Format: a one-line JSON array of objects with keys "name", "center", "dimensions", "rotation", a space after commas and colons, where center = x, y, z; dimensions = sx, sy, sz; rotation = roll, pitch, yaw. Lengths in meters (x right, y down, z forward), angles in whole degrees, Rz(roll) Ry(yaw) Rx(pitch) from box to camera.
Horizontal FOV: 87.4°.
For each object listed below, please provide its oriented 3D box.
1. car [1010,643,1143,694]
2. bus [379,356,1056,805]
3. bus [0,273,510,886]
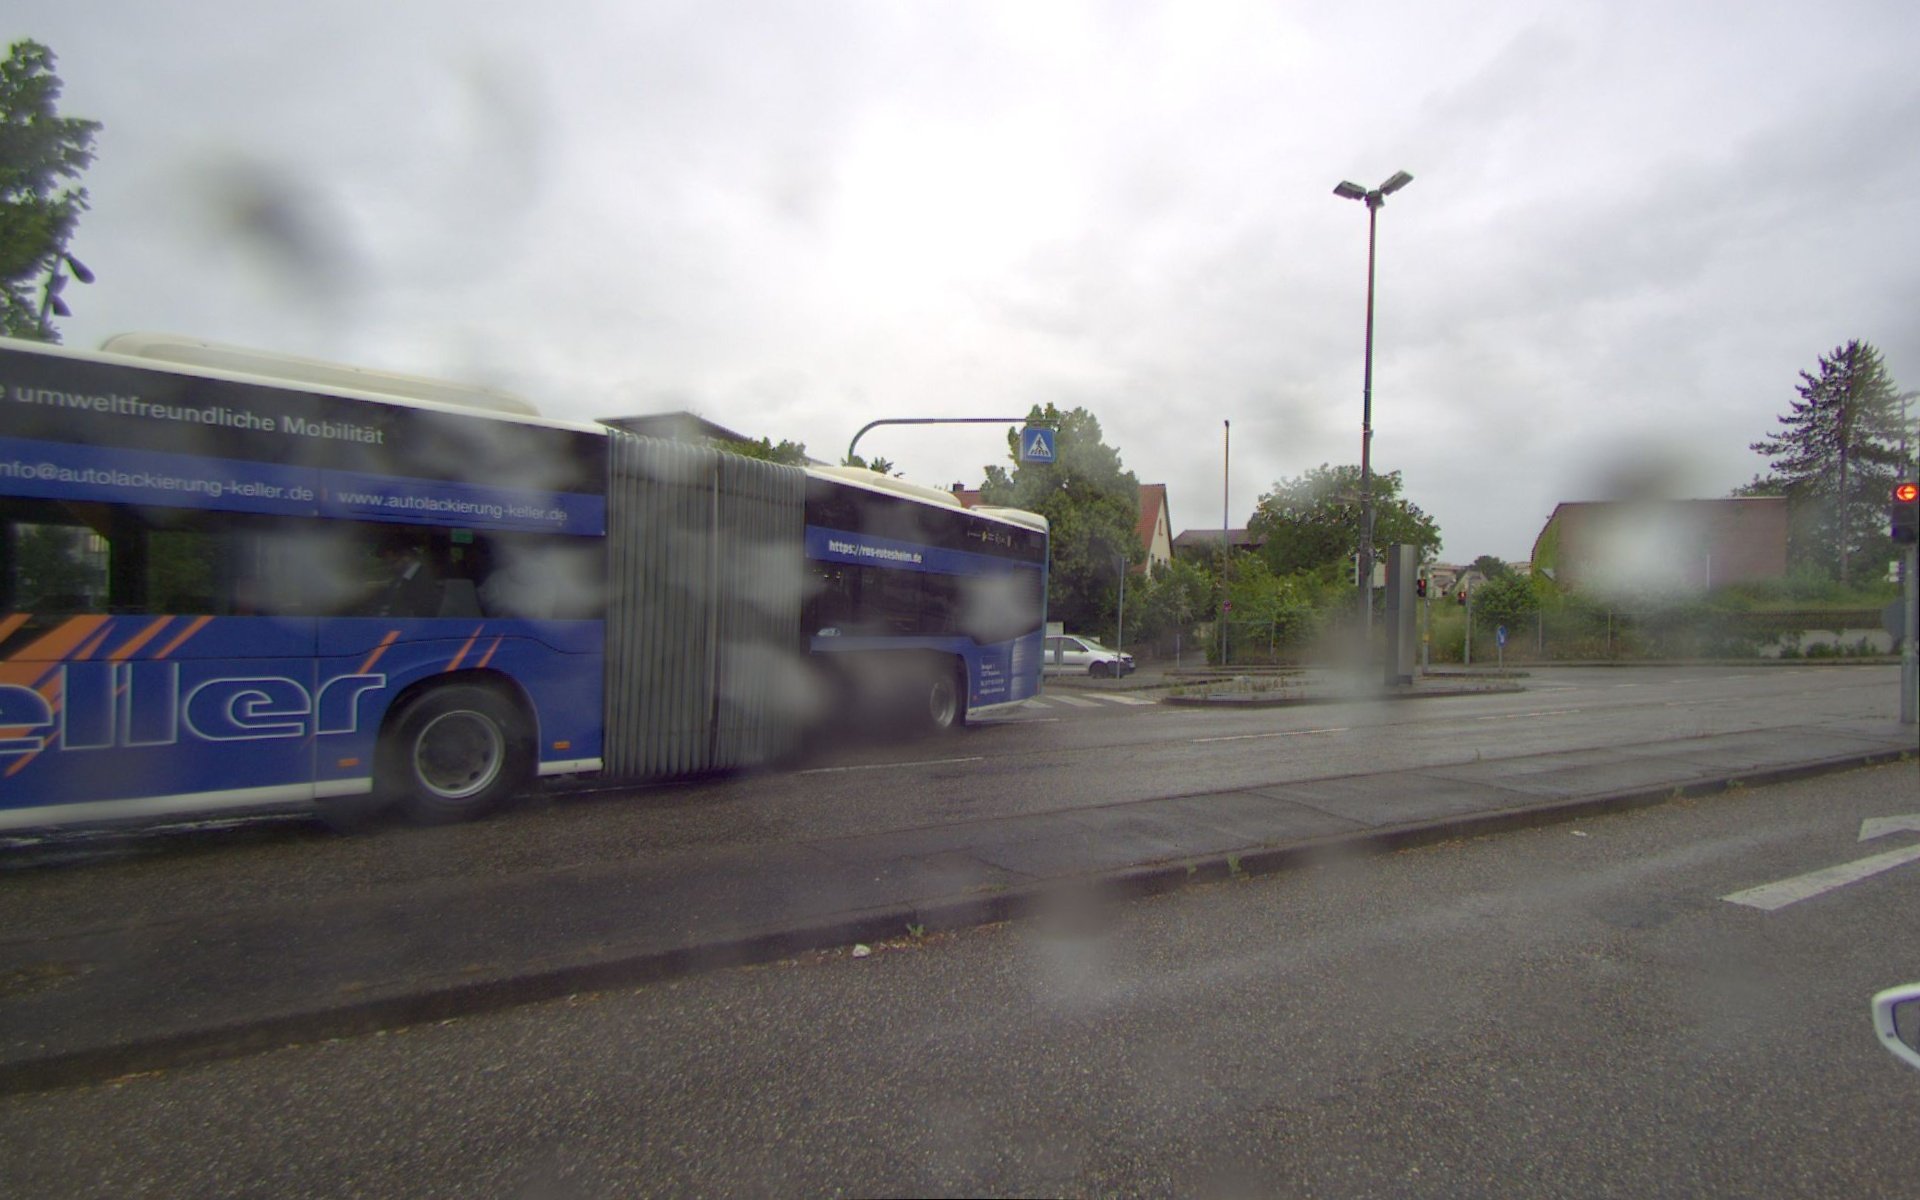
[{"name": "car", "center": [3.693, 2.130, 32.006], "dimensions": [3.929, 1.486, 1.583], "rotation": [-1, -2, 30]}, {"name": "bus", "center": [-1.597, 0.015, 11.912], "dimensions": [2.732, 3.155, 9.365], "rotation": [0, -2, 23]}, {"name": "bus", "center": [-7.226, -0.153, 4.826], "dimensions": [2.763, 3.155, 8.828], "rotation": [-1, -2, 45]}]
